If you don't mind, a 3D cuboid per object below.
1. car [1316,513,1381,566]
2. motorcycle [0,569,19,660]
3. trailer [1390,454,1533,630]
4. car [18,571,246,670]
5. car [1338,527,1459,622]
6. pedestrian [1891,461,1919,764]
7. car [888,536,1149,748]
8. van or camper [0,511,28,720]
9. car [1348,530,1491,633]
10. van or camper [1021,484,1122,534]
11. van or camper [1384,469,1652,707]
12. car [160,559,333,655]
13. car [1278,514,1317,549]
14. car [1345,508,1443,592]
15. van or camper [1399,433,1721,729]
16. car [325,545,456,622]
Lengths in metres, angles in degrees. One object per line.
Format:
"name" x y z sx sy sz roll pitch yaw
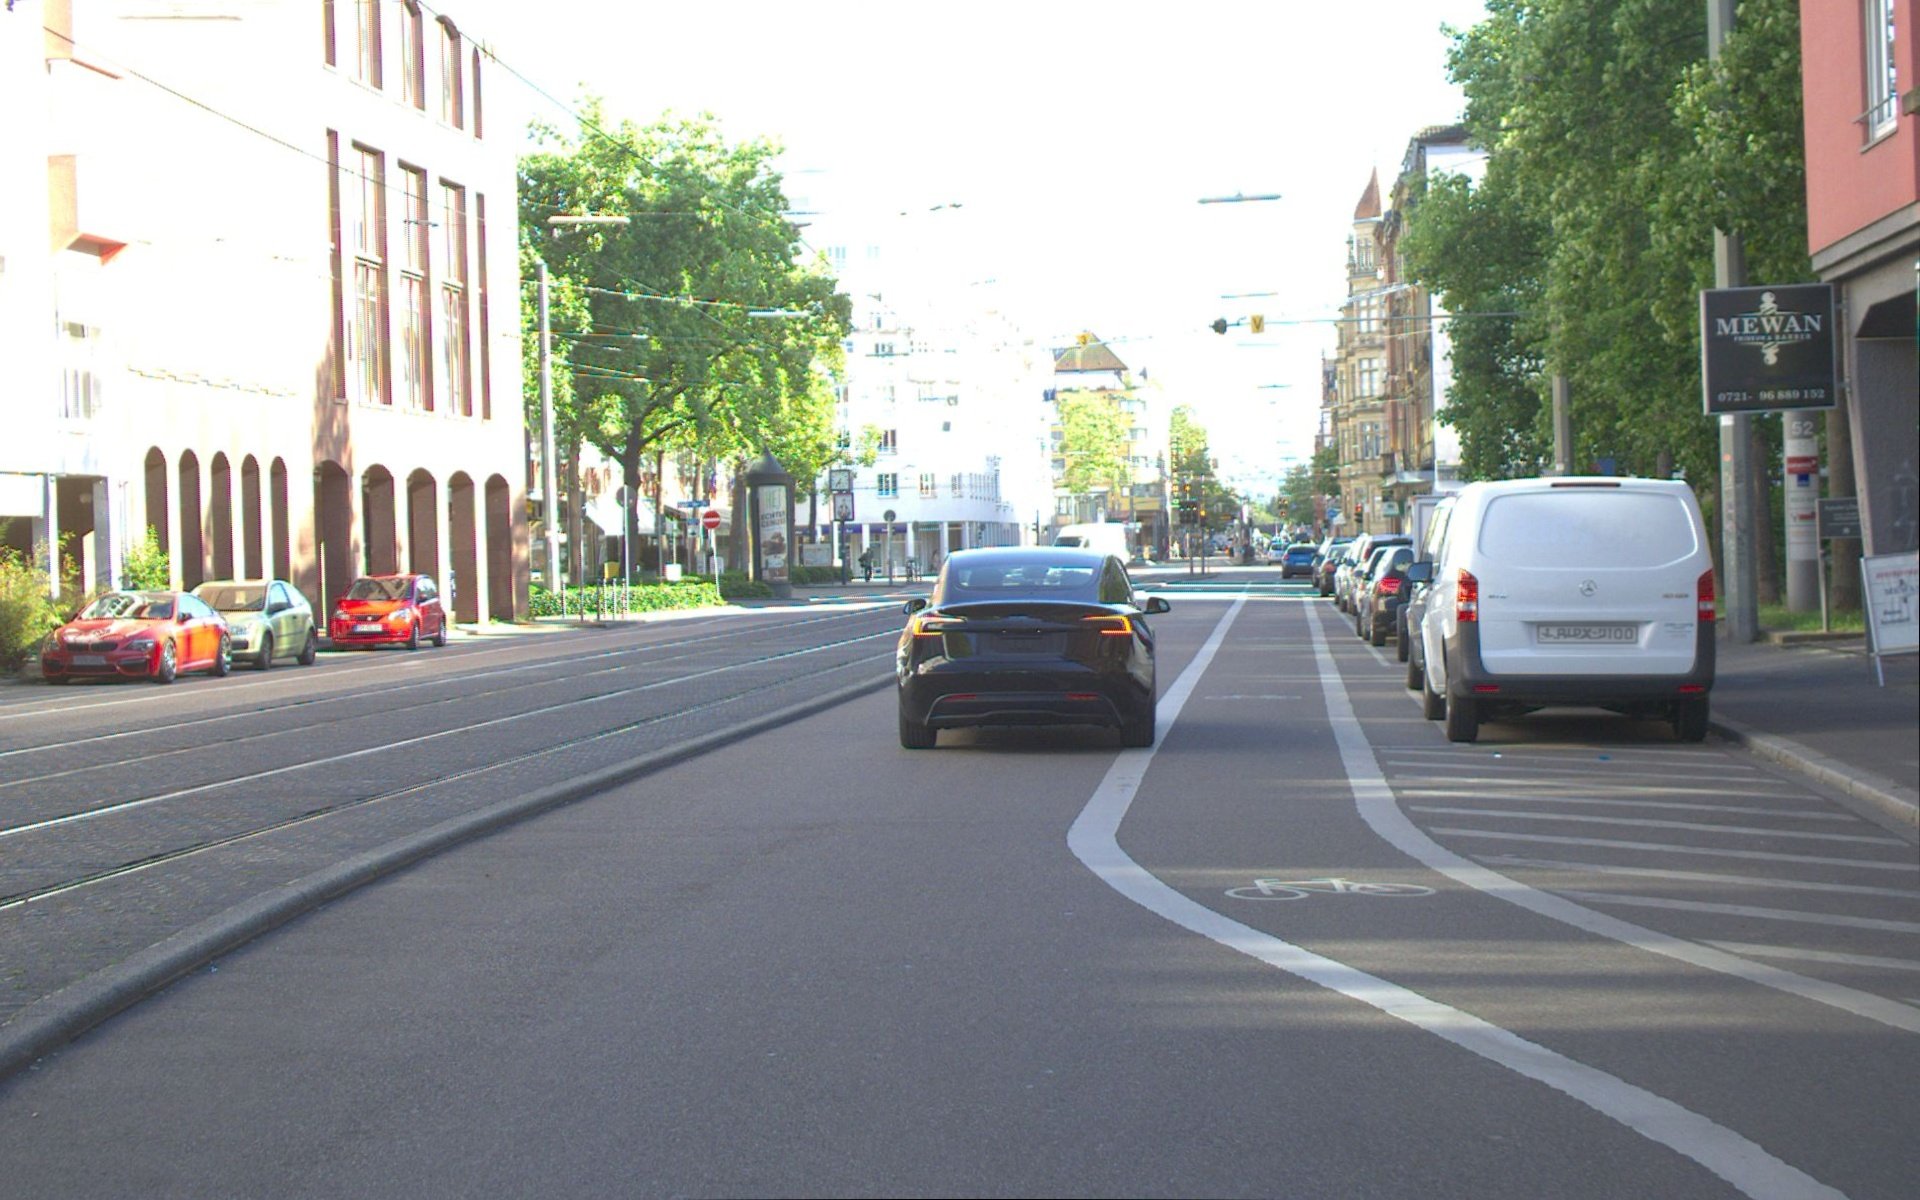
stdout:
"car" 10.953 -1.705 97.101 1.711 1.452 4.550 0 1 5
"motorcycle" -14.118 0.227 49.339 0.519 1.293 2.082 0 2 4
"trailer" 6.294 -0.745 43.426 1.661 2.109 3.842 0 1 7
"car" -12.401 0.267 51.798 1.960 1.320 4.820 0 2 4
"car" 7.221 -0.443 56.281 1.750 1.438 4.313 0 2 10
"pedestrian" 6.082 0.063 20.872 0.673 1.808 0.756 -1 1 4
"car" 0.499 0.250 25.403 1.720 1.400 3.710 0 2 4
"van or camper" -10.136 0.254 30.034 1.994 1.933 4.833 -4 1 8
"car" 6.818 -0.311 51.317 1.803 1.430 4.323 1 1 4
"van or camper" 6.218 -5.067 190.616 2.144 2.645 6.867 -1 1 34
"van or camper" 5.141 -0.169 32.349 1.971 2.038 5.331 1 1 4
"car" -11.841 0.092 57.308 1.669 1.463 4.290 0 2 5
"car" 14.485 -2.928 147.392 1.594 1.428 3.685 -2 1 6
"car" 8.577 -1.016 68.180 1.714 1.585 4.065 0 2 4
"van or camper" 4.472 -0.176 26.371 1.931 2.030 5.475 0 1 5
"car" -11.064 -0.346 67.011 1.659 1.417 3.620 0 2 5
